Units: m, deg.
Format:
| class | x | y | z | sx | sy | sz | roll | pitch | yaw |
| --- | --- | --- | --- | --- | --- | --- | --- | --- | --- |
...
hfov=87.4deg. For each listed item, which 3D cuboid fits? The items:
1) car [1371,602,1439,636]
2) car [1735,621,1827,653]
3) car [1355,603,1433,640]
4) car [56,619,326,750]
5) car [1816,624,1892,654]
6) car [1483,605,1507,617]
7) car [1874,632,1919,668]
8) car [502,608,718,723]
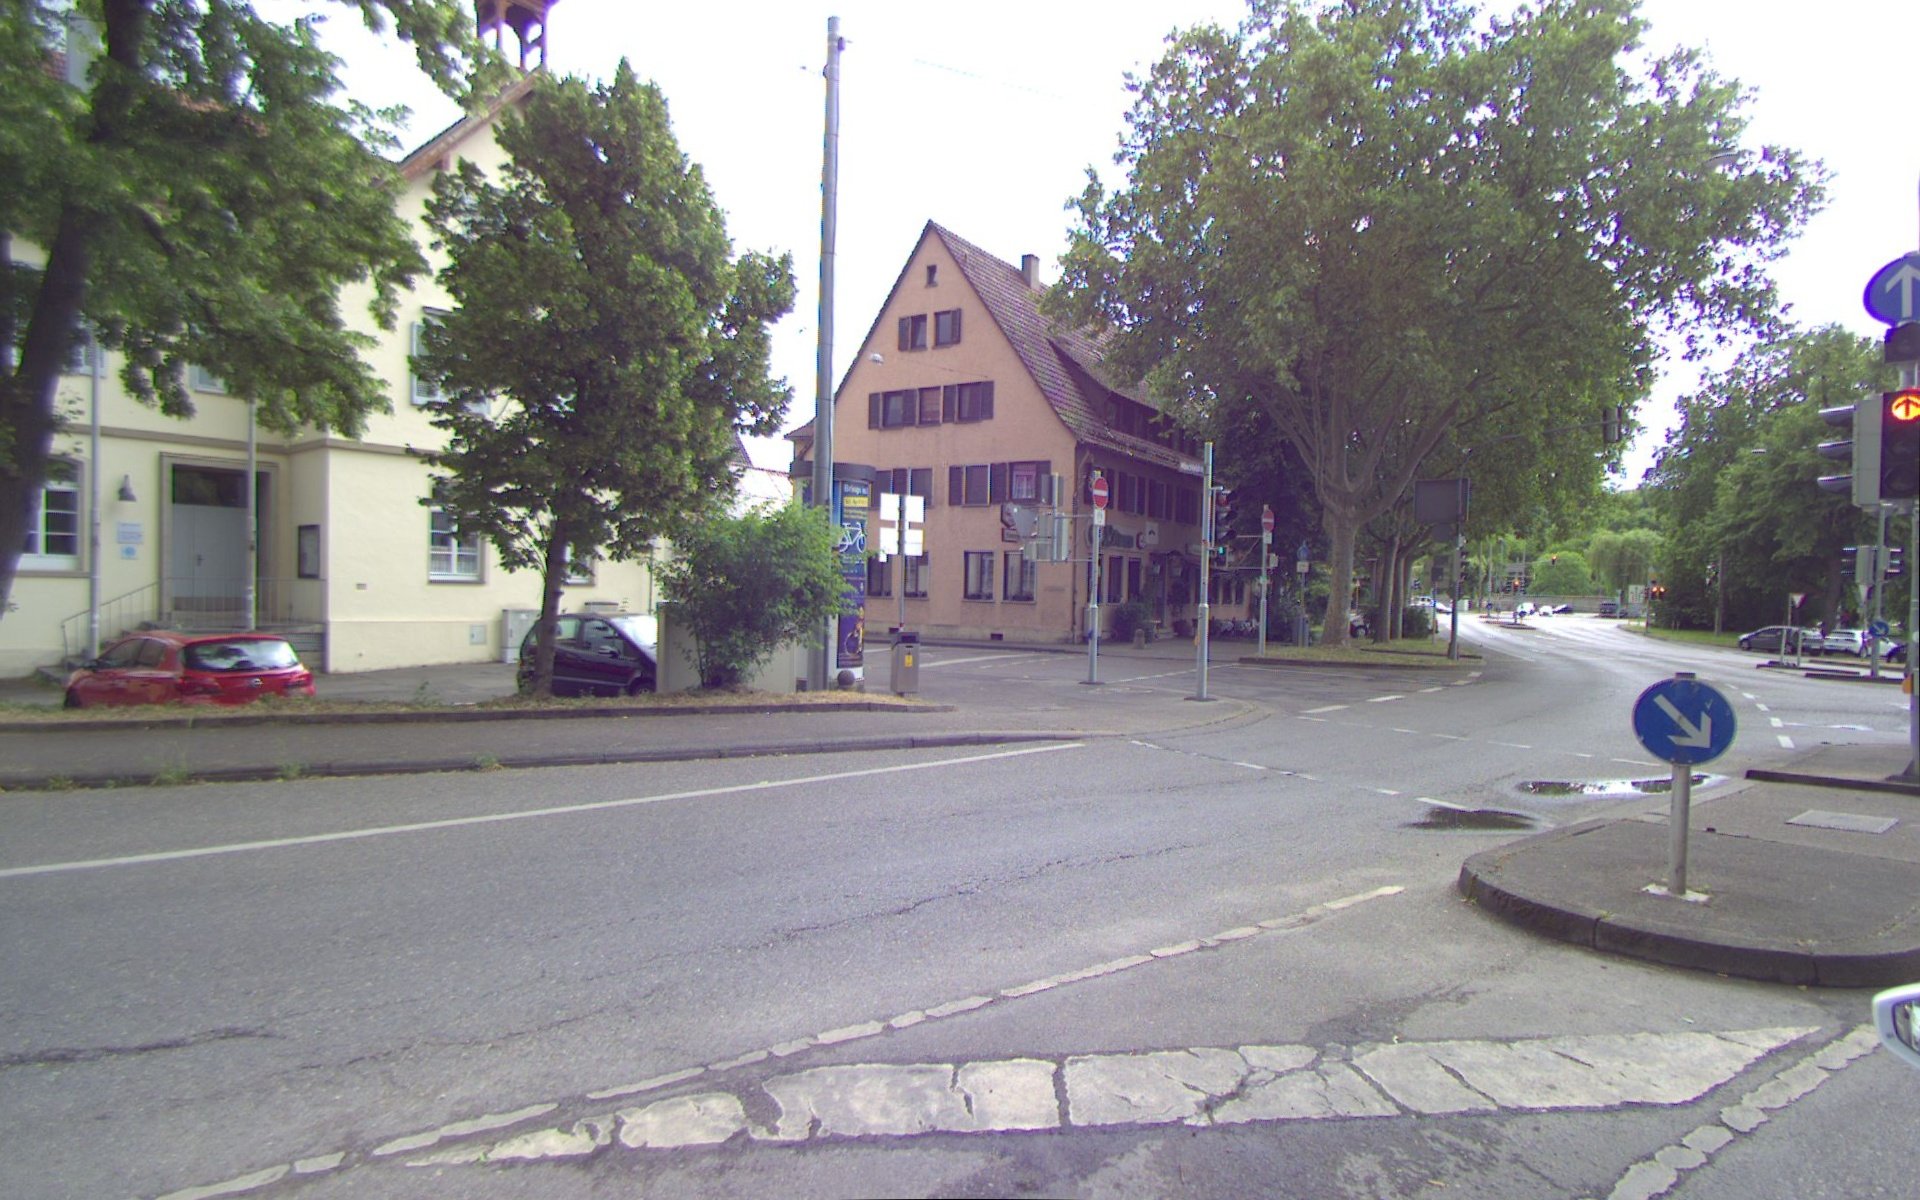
| class | x | y | z | sx | sy | sz | roll | pitch | yaw |
| --- | --- | --- | --- | --- | --- | --- | --- | --- | --- |
| car | 25.472 | 1.080 | 57.470 | 3.387 | 1.765 | 1.570 | 2 | 0 | 28 |
| car | 43.867 | 1.961 | 53.764 | 1.559 | 1.484 | 3.543 | 2 | 0 | -17 |
| car | 21.412 | 1.043 | 49.585 | 3.387 | 1.663 | 1.570 | 2 | 0 | 28 |
| car | -10.169 | 1.016 | 13.246 | 3.492 | 1.397 | 1.605 | 2 | 0 | 30 |
| car | 47.305 | 2.074 | 53.165 | 3.342 | 1.484 | 1.543 | 2 | 0 | -19 |
| car | 100.805 | 2.105 | 189.115 | 3.928 | 2.040 | 1.996 | 2 | 0 | 30 |
| car | 39.573 | 2.072 | 40.948 | 1.442 | 1.412 | 3.596 | 2 | 0 | 3 |
| car | -5.758 | 1.008 | 16.594 | 3.035 | 1.654 | 1.607 | 2 | 0 | 22 |
